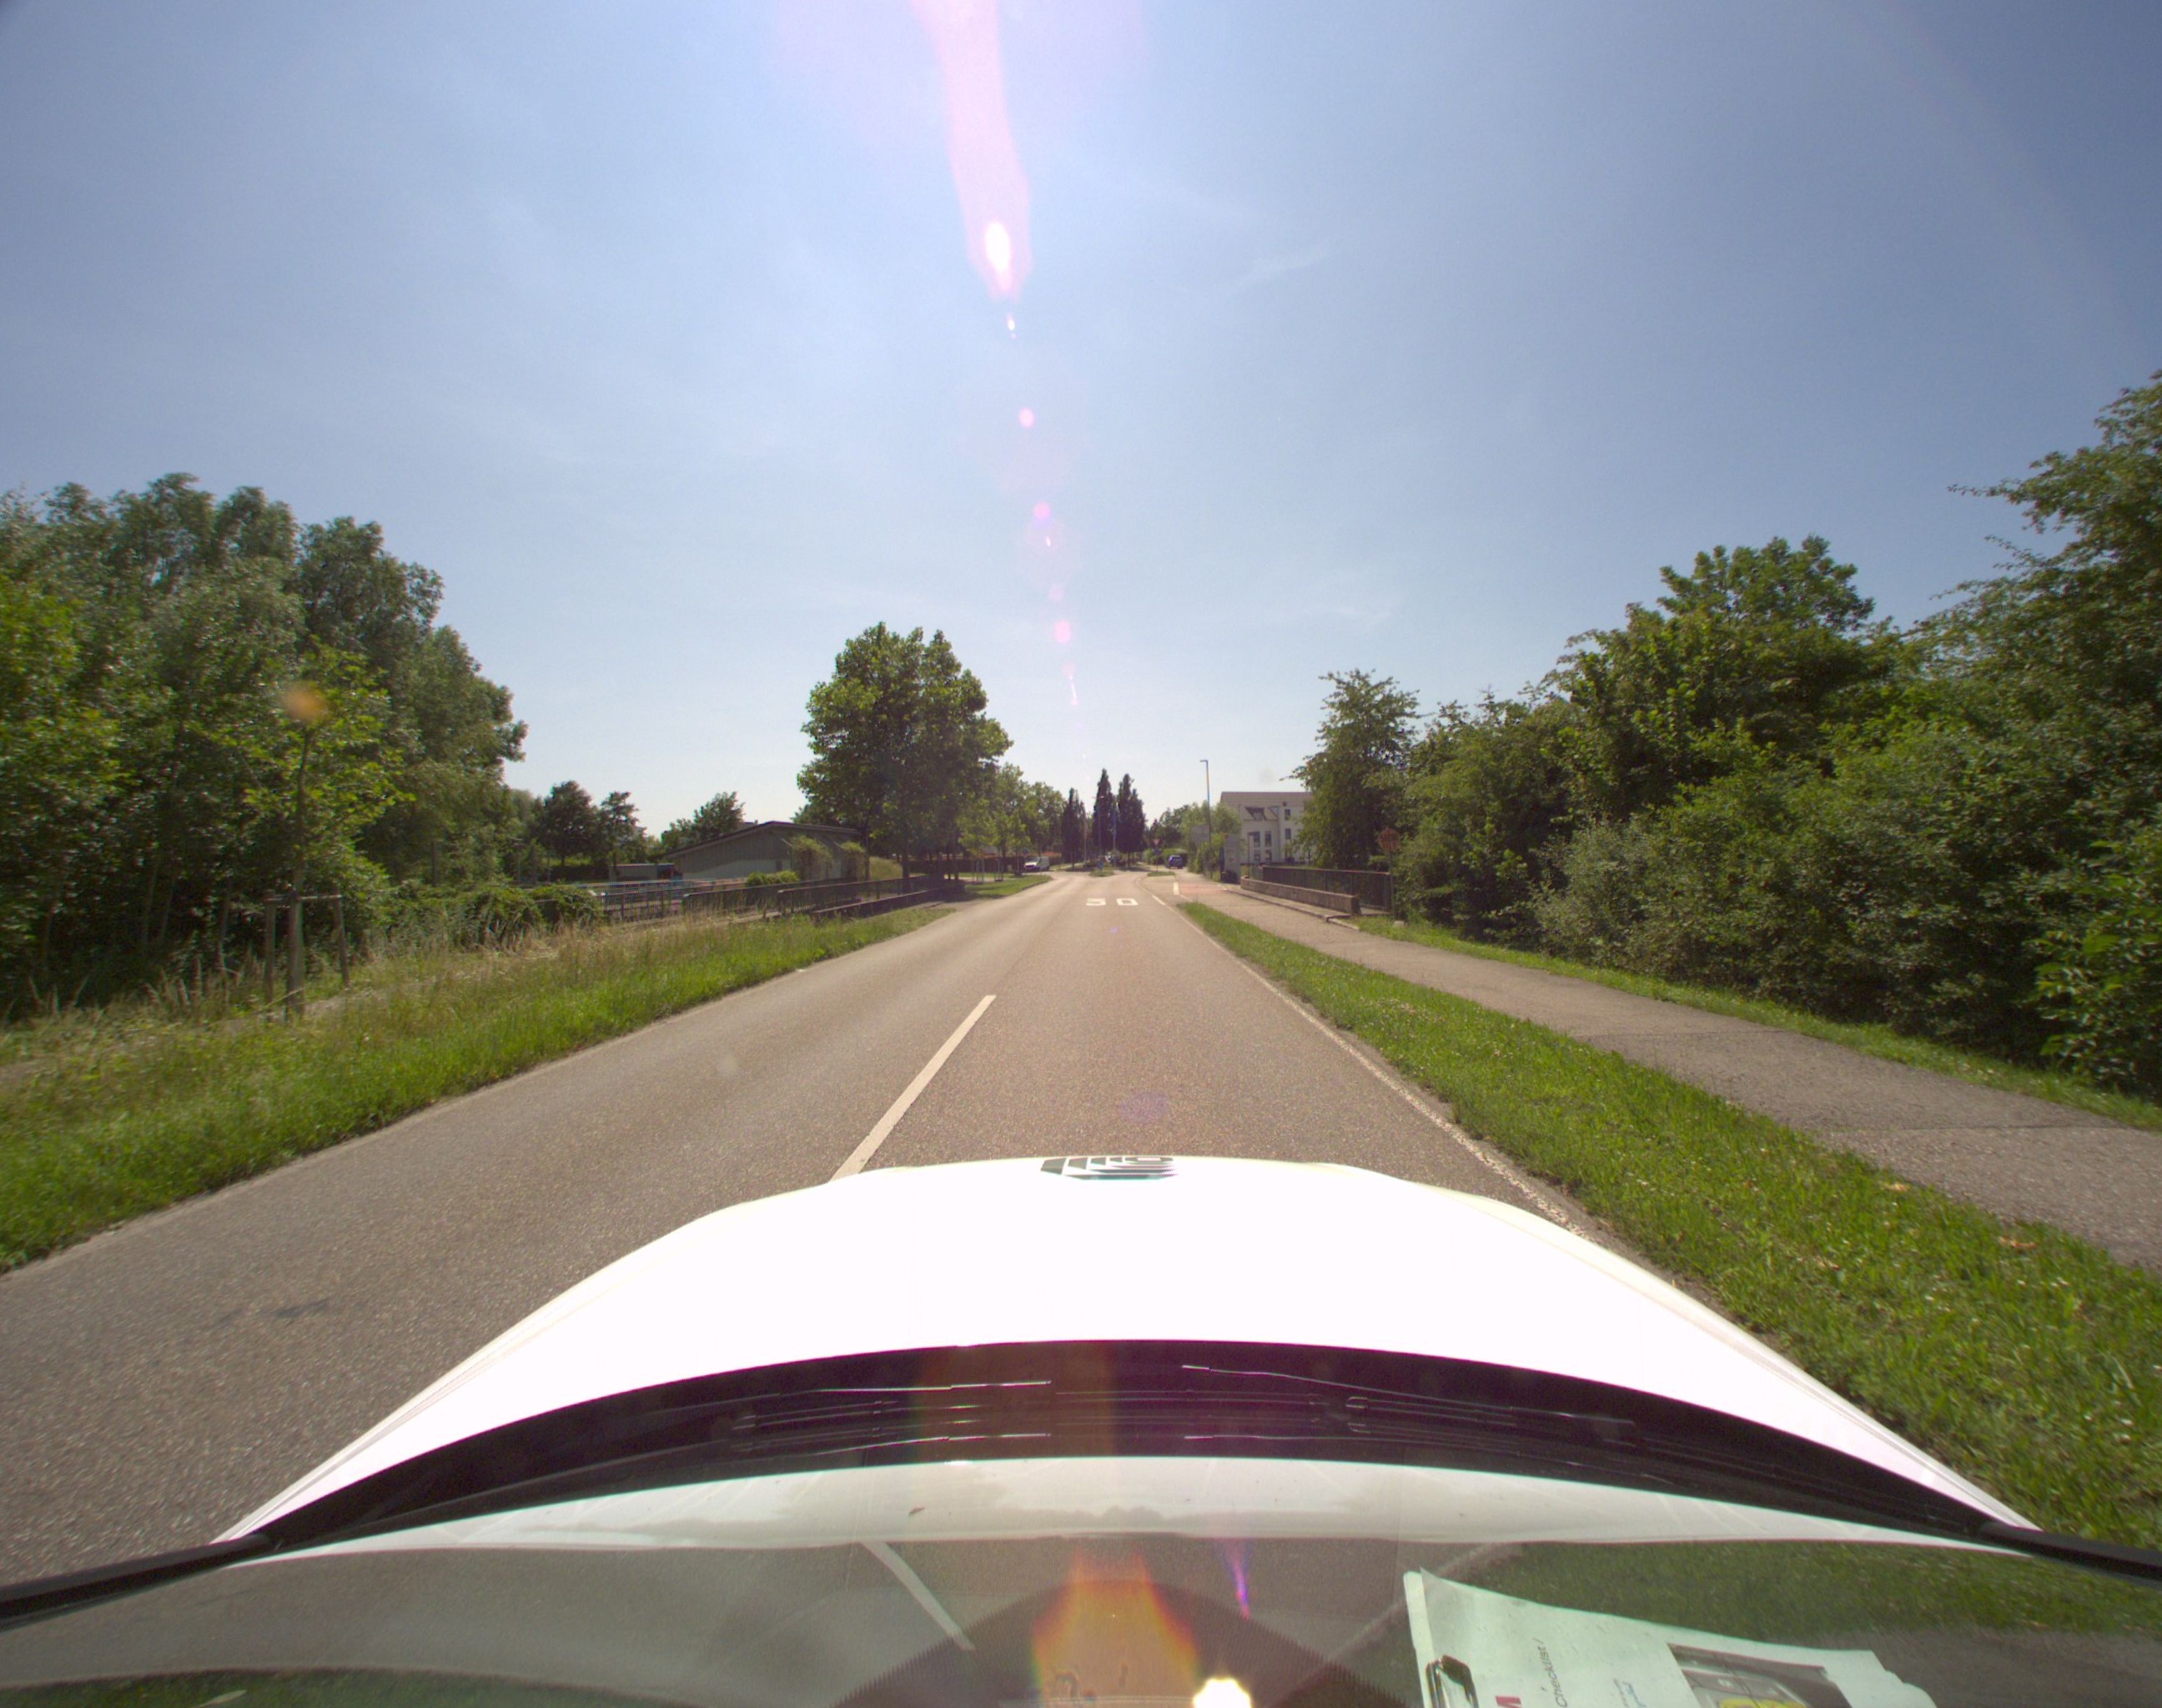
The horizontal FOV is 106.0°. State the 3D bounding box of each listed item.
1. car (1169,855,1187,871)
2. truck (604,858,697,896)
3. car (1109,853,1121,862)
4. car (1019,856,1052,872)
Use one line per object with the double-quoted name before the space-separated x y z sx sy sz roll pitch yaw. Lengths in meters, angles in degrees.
"car" 12.213 1.149 103.203 1.916 1.886 4.001 0 -1 2
"truck" -27.031 1.400 51.454 2.976 2.216 5.173 -1 0 1
"car" 6.579 0.638 156.681 1.984 1.770 4.005 -2 0 4
"car" -5.802 1.241 104.627 2.109 2.014 5.176 -1 -1 22
